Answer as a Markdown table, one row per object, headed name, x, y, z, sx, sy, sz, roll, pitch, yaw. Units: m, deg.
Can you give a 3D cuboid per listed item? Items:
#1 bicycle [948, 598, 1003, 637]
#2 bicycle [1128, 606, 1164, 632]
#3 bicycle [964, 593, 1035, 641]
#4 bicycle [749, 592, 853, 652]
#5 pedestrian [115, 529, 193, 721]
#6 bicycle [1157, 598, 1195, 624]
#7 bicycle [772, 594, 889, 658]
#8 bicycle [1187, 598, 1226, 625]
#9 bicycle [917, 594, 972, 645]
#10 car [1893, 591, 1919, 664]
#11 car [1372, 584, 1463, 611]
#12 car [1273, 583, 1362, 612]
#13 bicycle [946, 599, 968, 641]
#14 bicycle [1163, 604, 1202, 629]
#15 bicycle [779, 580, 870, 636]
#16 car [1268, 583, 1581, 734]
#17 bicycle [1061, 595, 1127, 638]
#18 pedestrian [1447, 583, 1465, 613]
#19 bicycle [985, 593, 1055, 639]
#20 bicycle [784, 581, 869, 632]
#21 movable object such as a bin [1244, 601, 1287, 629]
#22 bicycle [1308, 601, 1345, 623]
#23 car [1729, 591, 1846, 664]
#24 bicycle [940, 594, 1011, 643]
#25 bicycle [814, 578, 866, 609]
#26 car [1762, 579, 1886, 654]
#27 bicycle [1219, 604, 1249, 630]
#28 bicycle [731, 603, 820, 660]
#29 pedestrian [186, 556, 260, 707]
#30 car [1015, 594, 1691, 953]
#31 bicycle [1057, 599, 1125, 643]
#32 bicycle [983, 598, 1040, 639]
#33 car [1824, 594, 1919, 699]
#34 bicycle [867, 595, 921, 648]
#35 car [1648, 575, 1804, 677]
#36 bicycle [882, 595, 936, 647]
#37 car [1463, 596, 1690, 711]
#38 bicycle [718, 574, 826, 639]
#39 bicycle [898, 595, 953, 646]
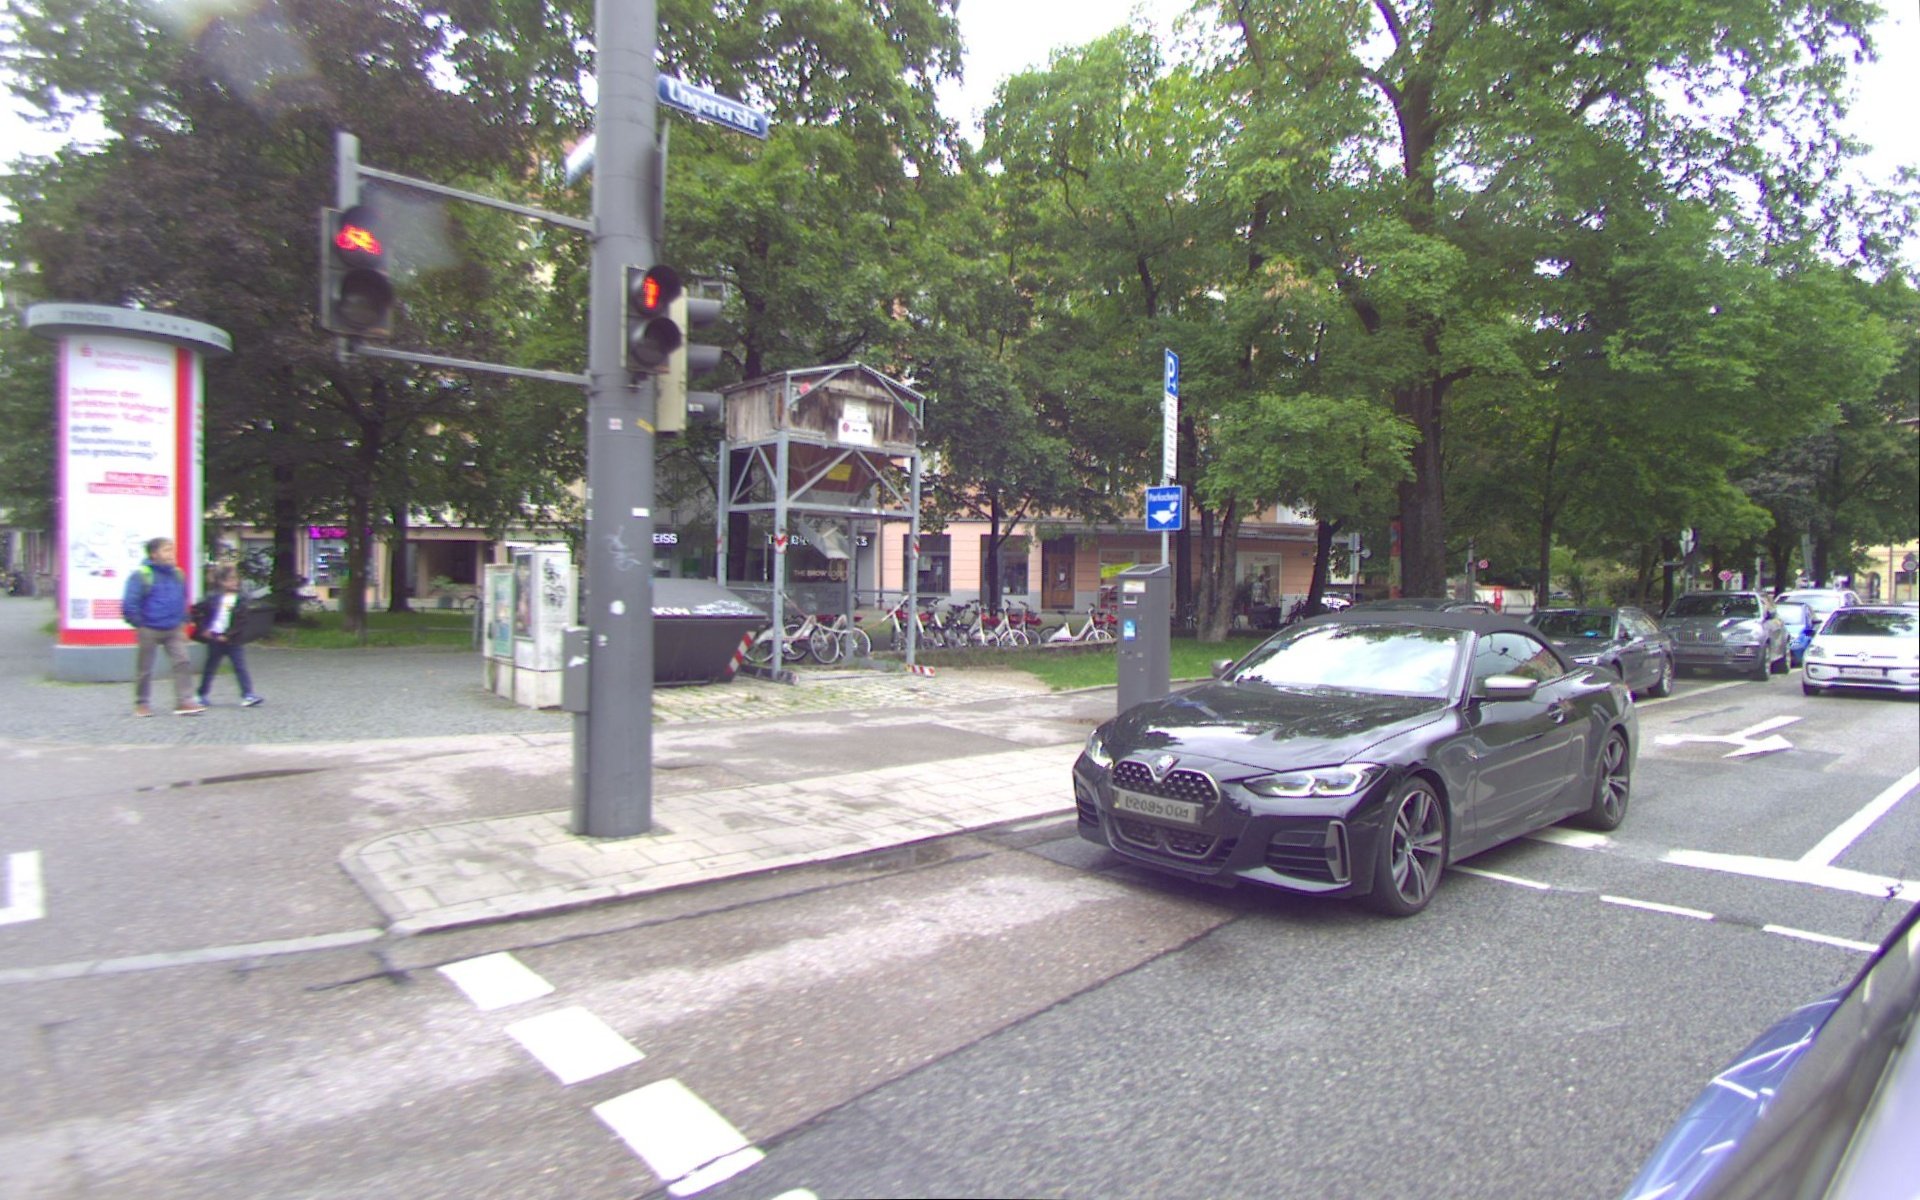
| name | x | y | z | sx | sy | sz | roll | pitch | yaw |
| --- | --- | --- | --- | --- | --- | --- | --- | --- | --- |
| bicycle | 0.381 | 0.420 | 24.512 | 1.386 | 0.905 | 0.313 | -1 | 0 | -35 |
| bicycle | 5.430 | 0.547 | 29.554 | 0.313 | 0.732 | 1.179 | -1 | 0 | -31 |
| bicycle | 0.770 | 0.330 | 19.867 | 1.397 | 0.905 | 0.311 | 1 | 0 | 24 |
| bicycle | -3.777 | 0.512 | 23.959 | 2.439 | 1.374 | 0.626 | -1 | 0 | 22 |
| pedestrian | -7.510 | 0.203 | 9.431 | 0.536 | 1.680 | 0.720 | -1 | 5 | -41 |
| bicycle | 6.073 | 0.308 | 28.468 | 0.313 | 0.732 | 1.179 | -1 | 0 | -31 |
| bicycle | -2.241 | 0.435 | 17.309 | 2.228 | 1.029 | 0.622 | -1 | 0 | 40 |
| bicycle | 6.990 | 0.316 | 28.691 | 1.155 | 0.732 | 0.319 | -1 | 0 | -30 |
| bicycle | -0.296 | 0.355 | 18.747 | 0.307 | 0.905 | 1.413 | -1 | 0 | -33 |
| car | 22.333 | 0.599 | 22.729 | 3.819 | 1.549 | 1.647 | 0 | 1 | -41 |
| car | 26.001 | -0.128 | 57.627 | 1.824 | 1.485 | 4.446 | -1 | 0 | -31 |
| car | 19.336 | -0.123 | 54.905 | 1.824 | 1.485 | 4.446 | -1 | 0 | -31 |
| bicycle | -0.075 | 0.437 | 23.053 | 0.307 | 0.905 | 1.414 | -1 | 0 | -7 |
| bicycle | 6.852 | 0.513 | 31.152 | 1.154 | 0.733 | 0.320 | -1 | 0 | -18 |
| bicycle | -3.698 | 0.195 | 27.556 | 2.439 | 1.373 | 0.626 | 3 | 1 | 21 |
| car | 5.969 | 0.600 | 12.768 | 4.473 | 1.568 | 1.835 | 0 | 1 | -40 |
| bicycle | 2.887 | 0.363 | 21.823 | 1.391 | 0.905 | 0.312 | -1 | 0 | 13 |
| pedestrian | 26.062 | -0.119 | 53.219 | 0.632 | 1.572 | 0.603 | -1 | 0 | -34 |
| bicycle | 1.222 | 0.330 | 20.621 | 1.391 | 0.905 | 0.312 | -1 | 0 | 13 |
| bicycle | -3.948 | 0.185 | 29.853 | 2.439 | 1.373 | 0.626 | 3 | 1 | 21 |
| movable object such as a bin | 10.391 | 0.503 | 34.430 | 0.759 | 0.883 | 1.182 | 0 | 1 | -32 |
| bicycle | 12.850 | 0.415 | 35.510 | 1.157 | 0.733 | 0.319 | -1 | 0 | 4 |
| car | 19.661 | 0.599 | 24.007 | 3.597 | 1.568 | 1.523 | 0 | 1 | -40 |
| bicycle | 0.281 | 0.344 | 19.015 | 1.403 | 0.905 | 0.309 | -1 | 0 | 36 |
| bicycle | -5.231 | -0.276 | 44.198 | 2.204 | 1.306 | 0.507 | -1 | 0 | -4 |
| car | 23.952 | 0.394 | 27.981 | 4.935 | 1.879 | 1.847 | 0 | 1 | -40 |
| bicycle | 8.033 | 0.503 | 29.685 | 0.312 | 0.732 | 1.181 | -1 | 0 | -14 |
| bicycle | -2.993 | 0.503 | 16.420 | 1.383 | 0.905 | 0.314 | 1 | -1 | -14 |
| pedestrian | -7.315 | 0.287 | 10.039 | 0.536 | 1.421 | 0.720 | -1 | 3 | -41 |
| car | 2.670 | 0.685 | 6.201 | 4.711 | 1.407 | 1.728 | 0 | 1 | -39 |
| bicycle | 2.739 | 0.436 | 21.164 | 1.391 | 0.905 | 0.312 | -1 | 0 | 13 |
| bicycle | 1.193 | 0.415 | 23.180 | 1.386 | 0.905 | 0.313 | -1 | 0 | -35 |
| car | 15.639 | 0.688 | 16.861 | 1.769 | 1.543 | 4.144 | 0 | 0 | 42 |
| bicycle | -1.196 | 0.374 | 18.083 | 0.307 | 0.905 | 1.413 | -1 | 0 | -33 |
| car | 15.692 | 0.450 | 20.643 | 4.480 | 1.842 | 1.933 | 0 | 1 | -45 |
| bicycle | -0.935 | 0.369 | 18.290 | 0.307 | 0.905 | 1.413 | -1 | 0 | -33 |
| car | 9.581 | 0.694 | 15.565 | 4.563 | 1.479 | 1.770 | 0 | 1 | -42 |
| bicycle | -4.282 | 0.137 | 23.001 | 2.440 | 1.374 | 0.626 | 2 | 1 | 22 |
| bicycle | -0.639 | 0.362 | 18.526 | 0.307 | 0.905 | 1.413 | -1 | 0 | -33 |
